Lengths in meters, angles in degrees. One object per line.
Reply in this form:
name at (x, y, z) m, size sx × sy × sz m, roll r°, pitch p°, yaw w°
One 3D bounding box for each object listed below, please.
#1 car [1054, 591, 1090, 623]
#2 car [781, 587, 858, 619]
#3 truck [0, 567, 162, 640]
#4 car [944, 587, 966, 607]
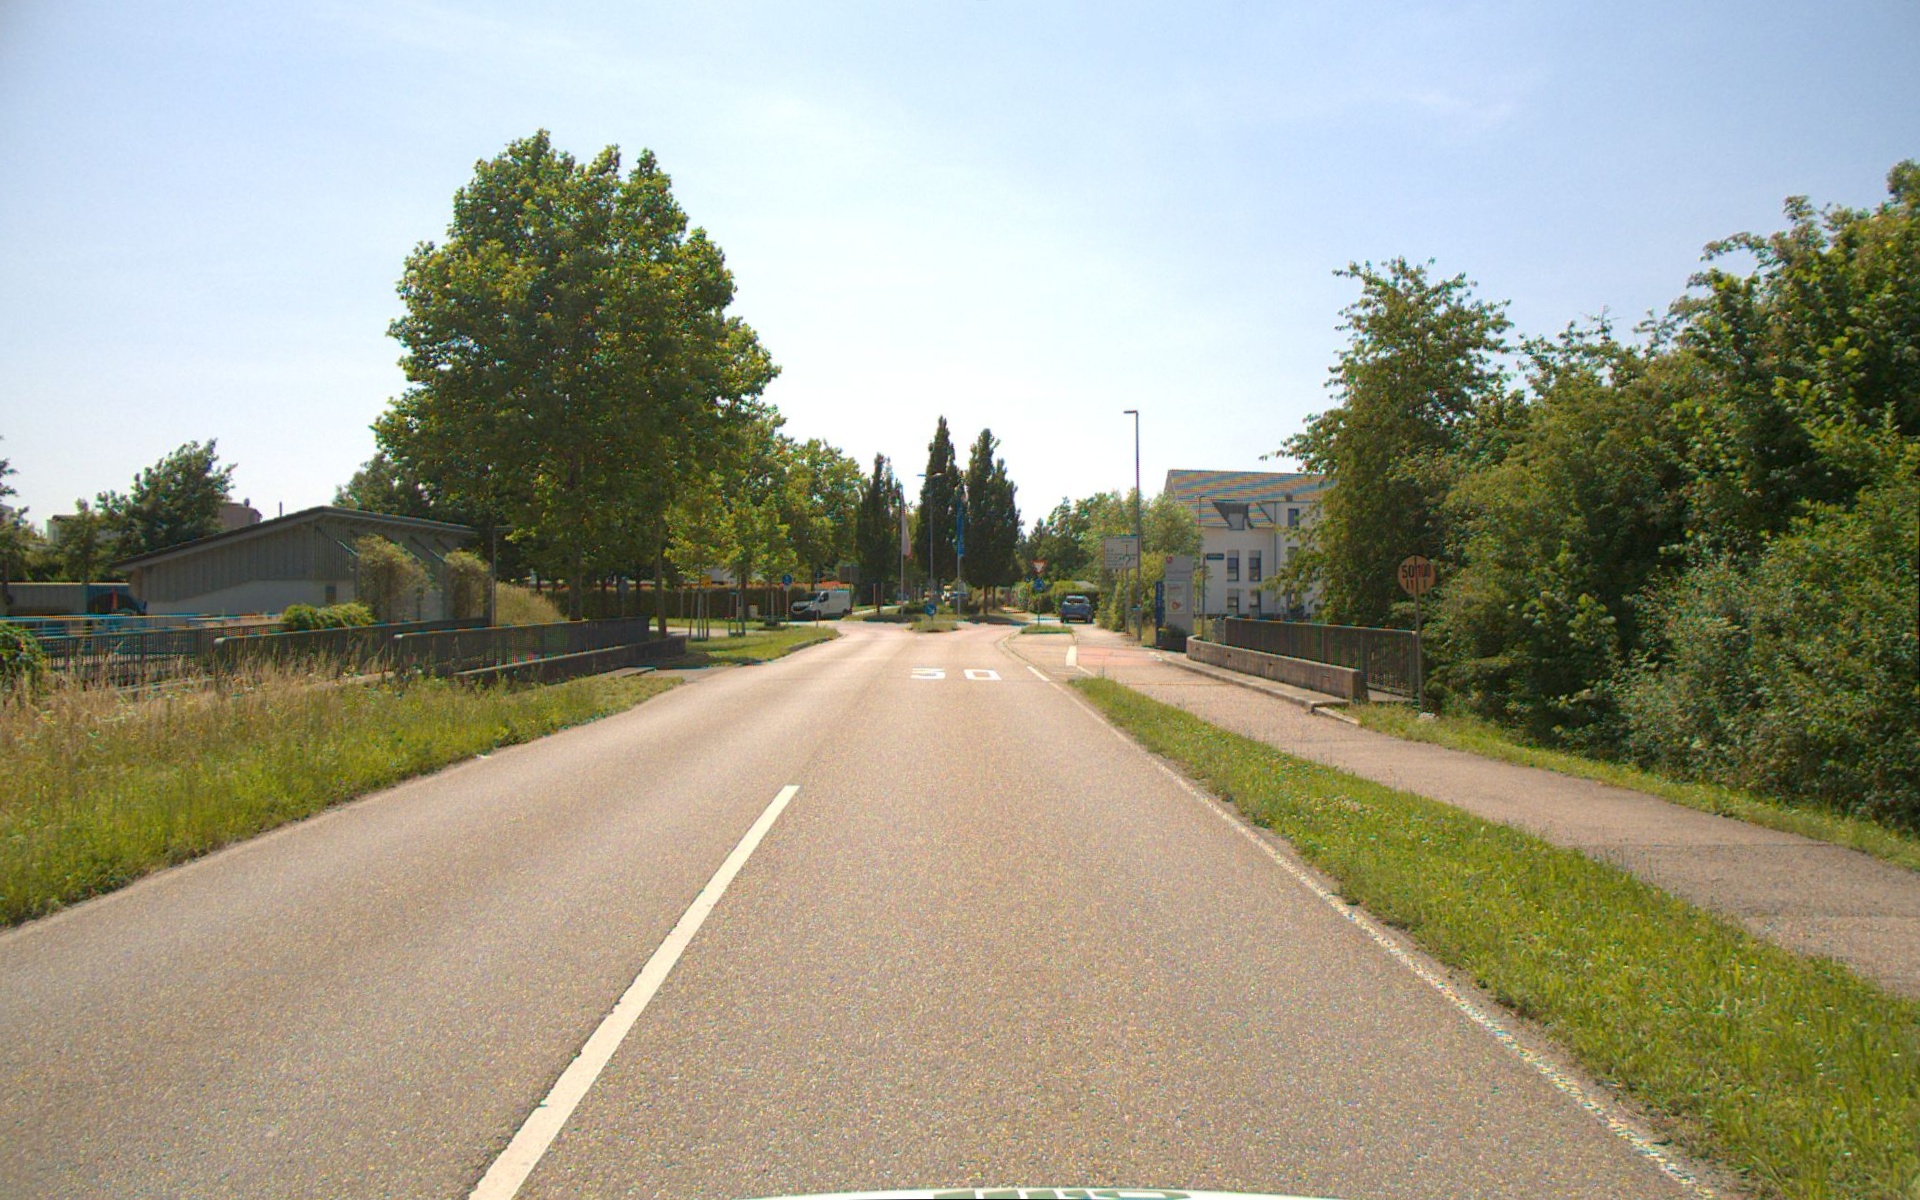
car at (6.975, 0.421, 103.617) m, size 1.884 × 1.919 × 3.999 m, roll 1°, pitch 0°, yaw -1°
car at (-9.339, 0.224, 110.288) m, size 2.096 × 2.049 × 5.120 m, roll 1°, pitch 0°, yaw 41°
truck at (-28.692, 0.082, 53.876) m, size 2.926 × 2.255 × 5.170 m, roll 0°, pitch 0°, yaw -1°
car at (-0.443, -0.282, 156.539) m, size 1.952 × 1.801 × 4.001 m, roll 0°, pitch 0°, yaw 2°
